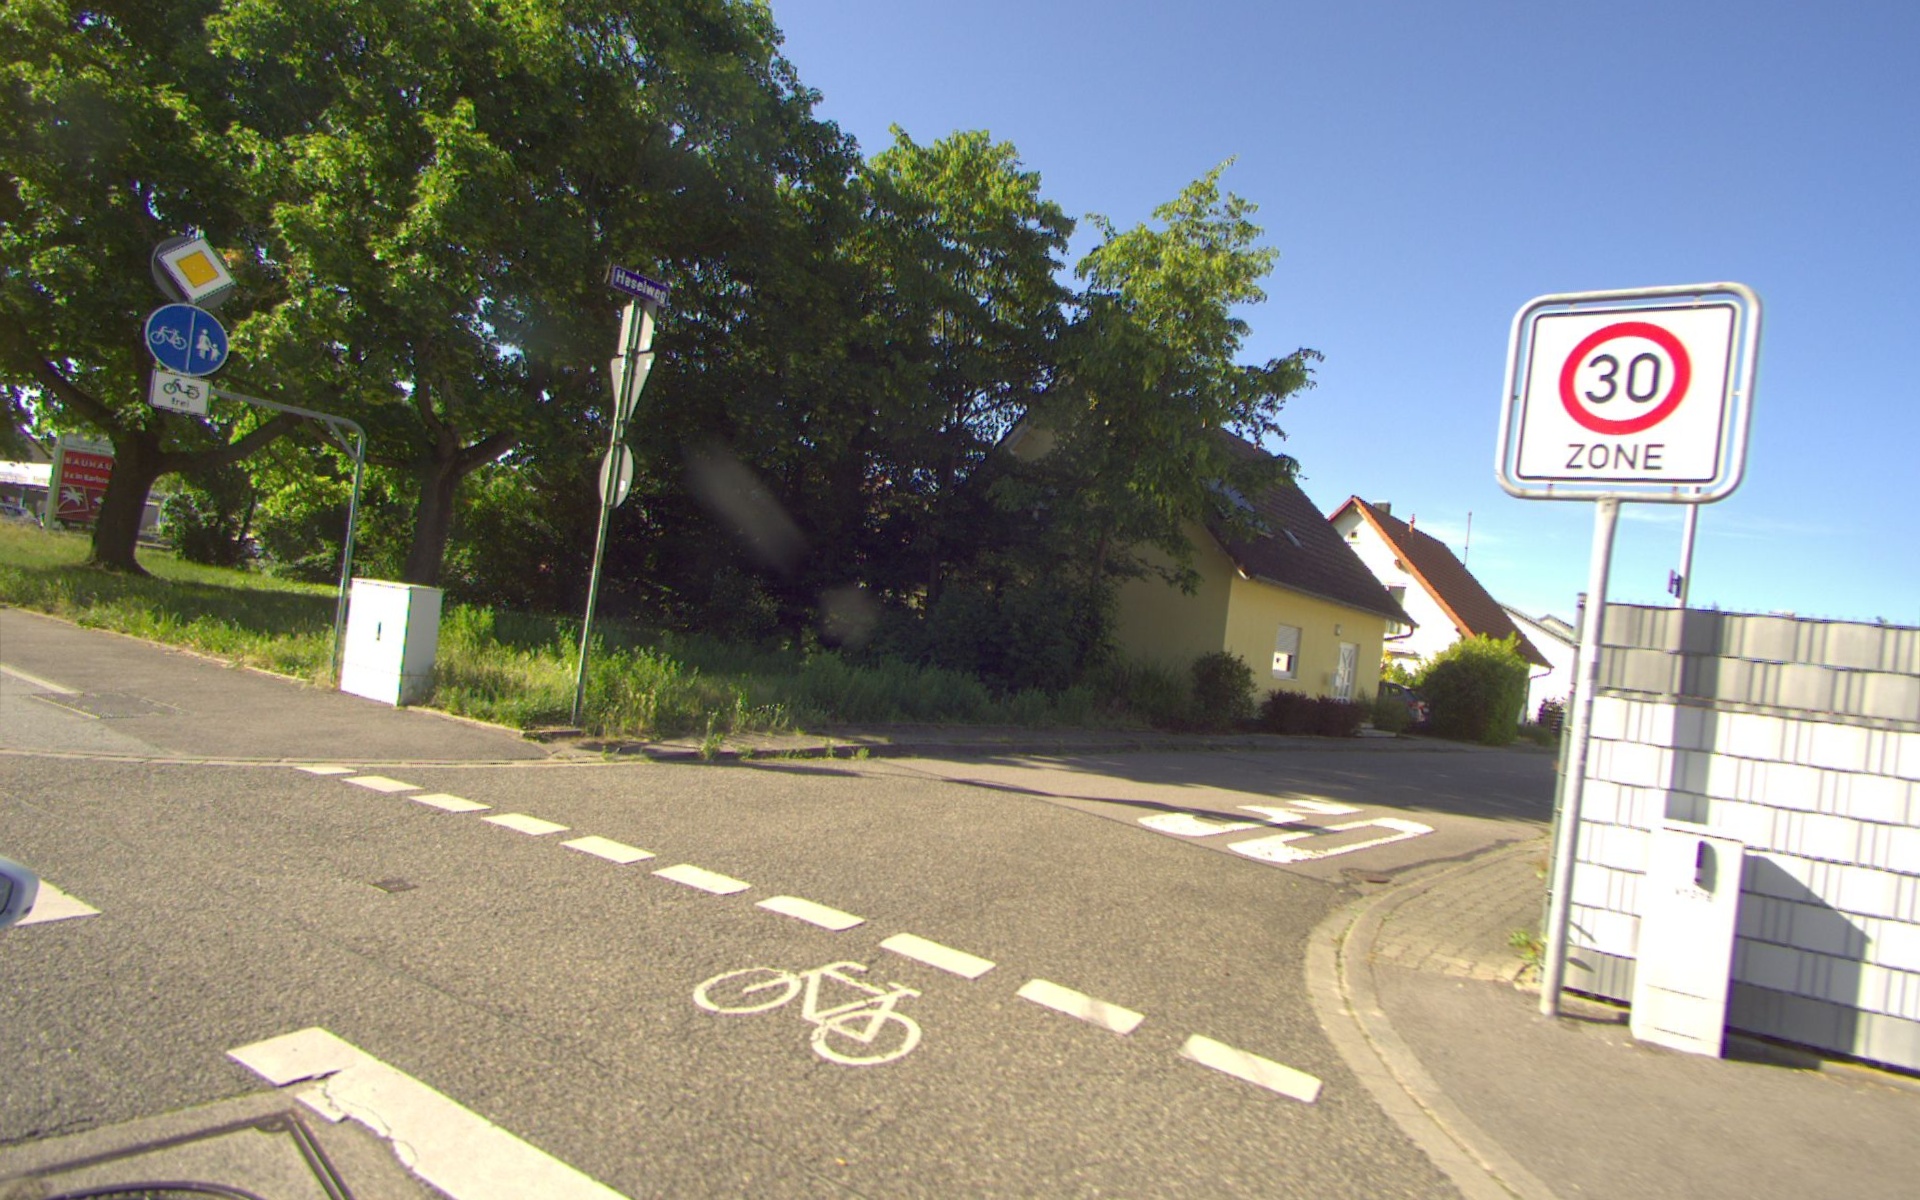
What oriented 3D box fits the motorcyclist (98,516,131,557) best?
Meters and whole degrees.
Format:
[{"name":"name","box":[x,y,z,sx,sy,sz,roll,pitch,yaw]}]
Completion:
[{"name":"motorcyclist","box":[-38.344,-2.858,45.641,0.824,1.697,0.859,3,-6,45]}]

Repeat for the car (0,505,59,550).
[{"name":"car","box":[-41.186,-3.269,42.268,1.972,1.591,4.618,4,-4,40]}]

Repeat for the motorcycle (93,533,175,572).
[{"name":"motorcycle","box":[-37.879,-2.155,46.168,0.824,1.283,2.722,3,-7,45]}]

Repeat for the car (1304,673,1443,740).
[{"name":"car","box":[13.566,3.487,33.069,3.726,1.667,1.890,3,-6,41]}]

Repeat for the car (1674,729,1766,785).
[{"name":"car","box":[27.172,5.627,35.928,4.208,1.534,1.917,13,-7,-43]}]

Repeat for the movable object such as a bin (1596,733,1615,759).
[{"name":"movable object such as a bin","box":[29.935,6.766,46.659,0.651,1.127,0.596,5,-5,31]}]
